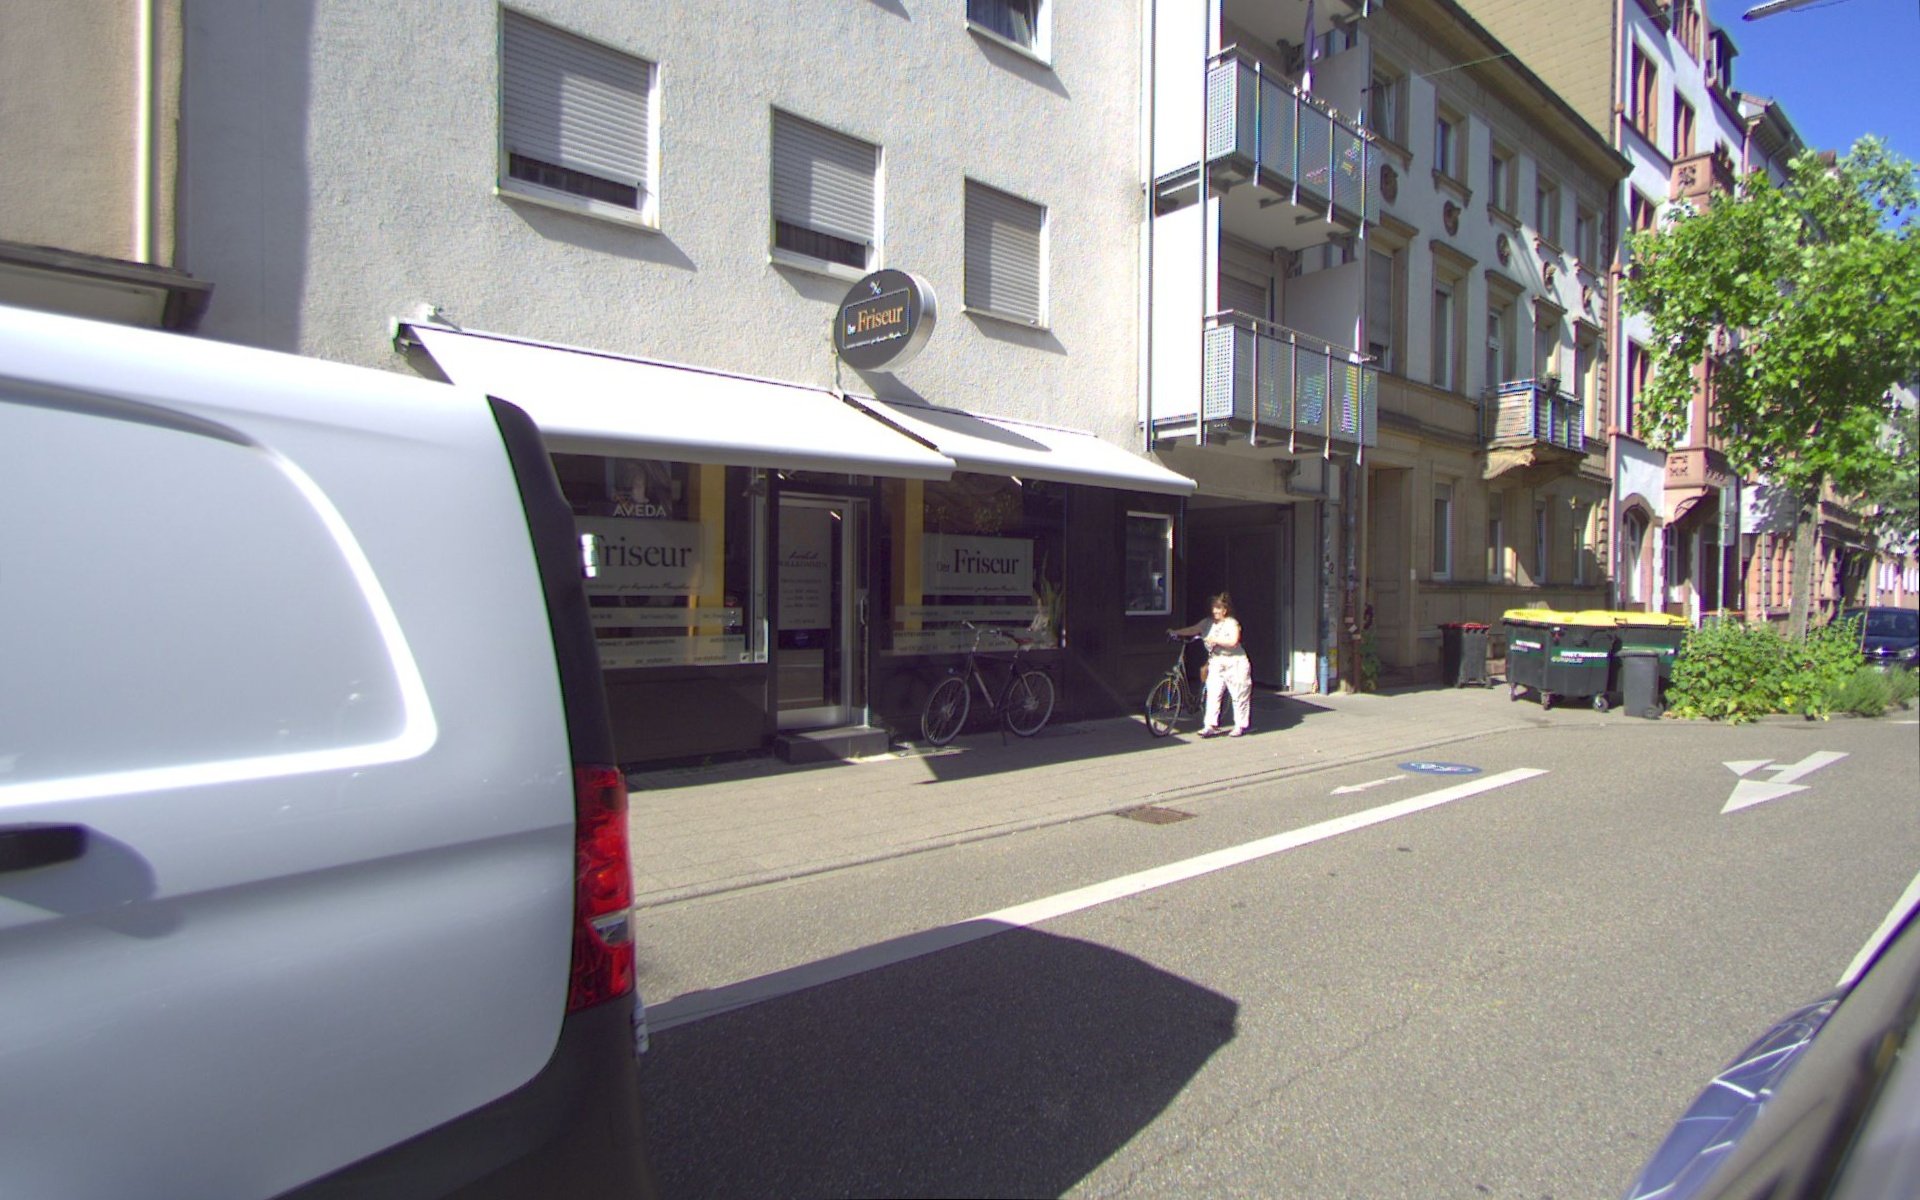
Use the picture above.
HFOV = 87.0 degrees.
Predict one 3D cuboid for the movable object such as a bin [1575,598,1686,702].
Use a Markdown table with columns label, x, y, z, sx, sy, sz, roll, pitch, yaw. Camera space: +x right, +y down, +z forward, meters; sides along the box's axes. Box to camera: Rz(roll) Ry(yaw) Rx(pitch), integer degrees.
| label | x | y | z | sx | sy | sz | roll | pitch | yaw |
| --- | --- | --- | --- | --- | --- | --- | --- | --- | --- |
| movable object such as a bin | 9.689 | 0.694 | 14.670 | 0.943 | 1.364 | 1.066 | 1 | 3 | 11 |

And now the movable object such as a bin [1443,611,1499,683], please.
| label | x | y | z | sx | sy | sz | roll | pitch | yaw |
| --- | --- | --- | --- | --- | --- | --- | --- | --- | --- |
| movable object such as a bin | 8.264 | 0.749 | 16.394 | 0.557 | 1.094 | 0.617 | 1 | 3 | 1 |

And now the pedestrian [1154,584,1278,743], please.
| label | x | y | z | sx | sy | sz | roll | pitch | yaw |
| --- | --- | --- | --- | --- | --- | --- | --- | --- | --- |
| pedestrian | 2.729 | 0.635 | 10.814 | 0.930 | 1.556 | 0.825 | 0 | 4 | -41 |

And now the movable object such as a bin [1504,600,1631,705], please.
| label | x | y | z | sx | sy | sz | roll | pitch | yaw |
| --- | --- | --- | --- | --- | --- | --- | --- | --- | --- |
| movable object such as a bin | 8.573 | 0.709 | 14.348 | 1.030 | 1.341 | 1.216 | 1 | 3 | 1 |

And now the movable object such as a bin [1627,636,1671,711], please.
| label | x | y | z | sx | sy | sz | roll | pitch | yaw |
| --- | --- | --- | --- | --- | --- | --- | --- | --- | --- |
| movable object such as a bin | 9.302 | 0.980 | 13.657 | 0.399 | 0.933 | 0.478 | 3 | 3 | 41 |

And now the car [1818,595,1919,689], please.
| label | x | y | z | sx | sy | sz | roll | pitch | yaw |
| --- | --- | --- | --- | --- | --- | --- | --- | --- | --- |
| car | 16.569 | 0.686 | 17.982 | 3.293 | 1.510 | 1.550 | 0 | 1 | -41 |

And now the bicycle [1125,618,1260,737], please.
| label | x | y | z | sx | sy | sz | roll | pitch | yaw |
| --- | --- | --- | --- | --- | --- | --- | --- | --- | --- |
| bicycle | 2.531 | 0.792 | 10.916 | 1.760 | 1.146 | 0.402 | 0 | 4 | -41 |

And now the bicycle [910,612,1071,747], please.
| label | x | y | z | sx | sy | sz | roll | pitch | yaw |
| --- | --- | --- | --- | --- | --- | --- | --- | --- | --- |
| bicycle | 0.333 | 0.724 | 9.876 | 1.760 | 1.193 | 0.402 | 0 | 0 | -41 |

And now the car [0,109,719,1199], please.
| label | x | y | z | sx | sy | sz | roll | pitch | yaw |
| --- | --- | --- | --- | --- | --- | --- | --- | --- | --- |
| car | -2.803 | 0.439 | 0.605 | 4.911 | 1.892 | 1.839 | 0 | 1 | -42 |
